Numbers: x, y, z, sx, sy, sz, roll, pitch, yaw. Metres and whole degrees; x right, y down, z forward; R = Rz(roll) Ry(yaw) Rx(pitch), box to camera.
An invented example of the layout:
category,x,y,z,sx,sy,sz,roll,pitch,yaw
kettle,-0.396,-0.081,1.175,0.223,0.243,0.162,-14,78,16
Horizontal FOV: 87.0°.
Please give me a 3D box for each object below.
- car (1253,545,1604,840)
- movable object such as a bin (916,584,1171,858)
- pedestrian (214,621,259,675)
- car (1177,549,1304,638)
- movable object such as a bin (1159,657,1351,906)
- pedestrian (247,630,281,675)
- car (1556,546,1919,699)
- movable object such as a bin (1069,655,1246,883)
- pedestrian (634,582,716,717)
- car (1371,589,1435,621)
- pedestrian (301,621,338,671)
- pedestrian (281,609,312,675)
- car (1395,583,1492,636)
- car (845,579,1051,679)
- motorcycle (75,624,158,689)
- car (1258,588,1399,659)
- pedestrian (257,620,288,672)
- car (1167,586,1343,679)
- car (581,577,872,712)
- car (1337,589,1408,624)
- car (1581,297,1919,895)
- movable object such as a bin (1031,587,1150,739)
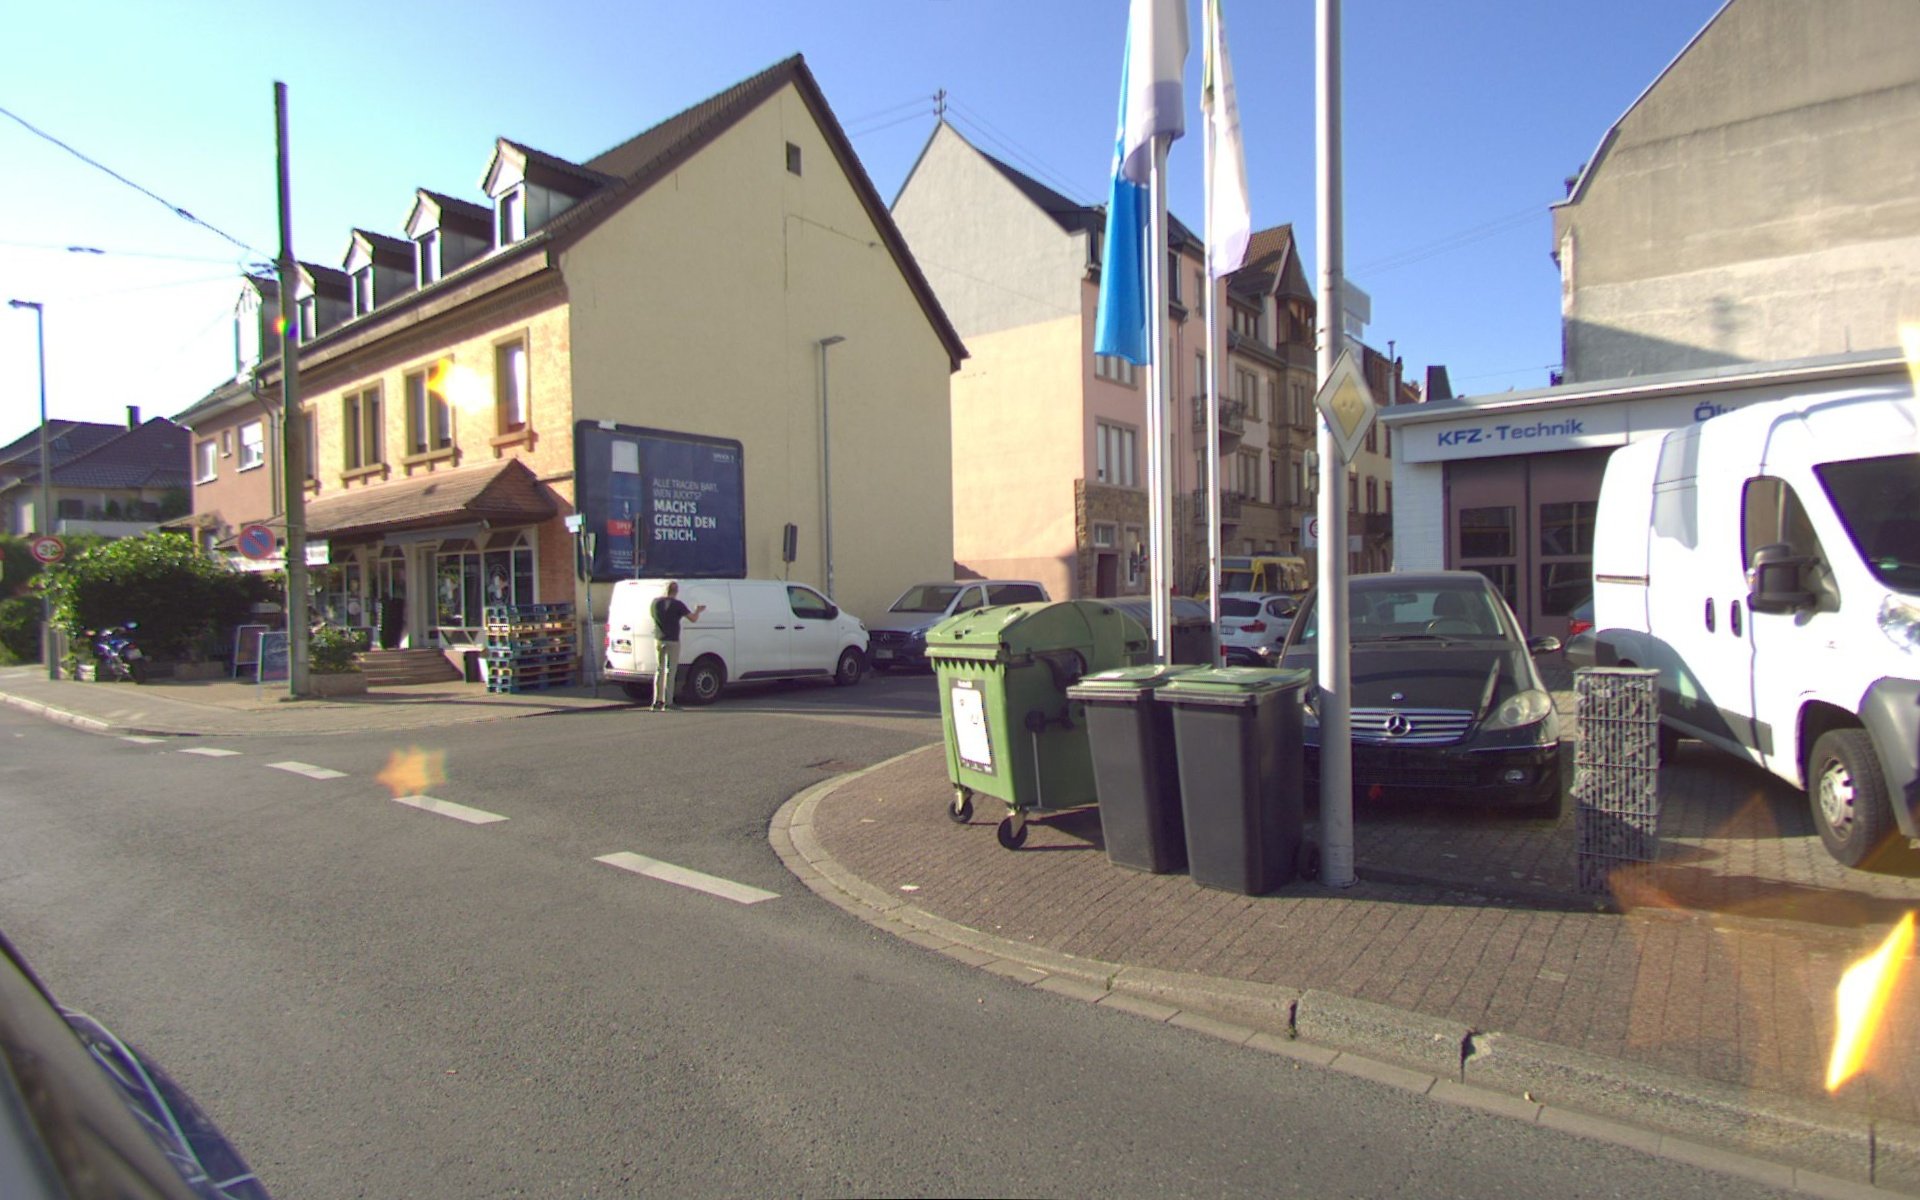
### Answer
category,x,y,z,sx,sy,sz,roll,pitch,yaw
car,3.430,0.468,7.593,1.762,1.580,3.967,-2,1,25
movable object such as a bin,0.483,0.711,6.508,1.040,1.494,1.316,-3,-2,-23
pedestrian,-17.462,1.155,24.417,0.666,1.253,0.737,-1,0,42
car,9.707,-0.224,34.625,2.134,2.747,6.051,-1,0,37
movable object such as a bin,1.451,0.849,4.997,0.631,1.077,0.581,-2,-2,-39
pedestrian,-16.572,1.245,24.093,0.381,1.055,0.521,-1,0,22
car,9.587,0.237,11.818,4.309,1.580,1.750,-2,1,38
movable object such as a bin,1.067,0.868,5.485,0.652,1.070,0.586,-5,0,-39
pedestrian,-4.115,0.691,14.619,0.820,1.882,0.784,-2,0,41
car,22.466,0.239,51.268,1.998,1.419,3.948,4,4,39
pedestrian,-14.848,1.059,23.463,0.632,1.118,0.557,-1,0,40
pedestrian,-16.045,0.998,24.472,0.501,1.572,0.460,0,0,35
car,16.044,0.260,33.477,1.998,1.536,3.948,4,4,39
car,-0.112,0.543,21.926,1.995,1.909,4.917,-1,0,35
motorcycle,-18.241,1.188,21.861,2.228,1.292,0.832,-1,1,36
car,8.934,0.493,24.346,1.998,1.419,3.948,4,4,39
pedestrian,-17.158,1.142,25.261,0.465,1.268,0.518,-1,0,40
car,6.009,0.558,20.350,1.998,1.536,3.948,4,4,39
car,-3.757,0.627,17.075,1.996,1.947,4.573,-1,0,37
car,19.323,0.288,47.330,1.998,1.419,3.948,4,4,39
car,5.597,-0.075,5.903,2.091,2.488,5.044,-2,1,17
movable object such as a bin,1.392,0.644,10.698,0.702,1.494,1.168,-5,-2,34
